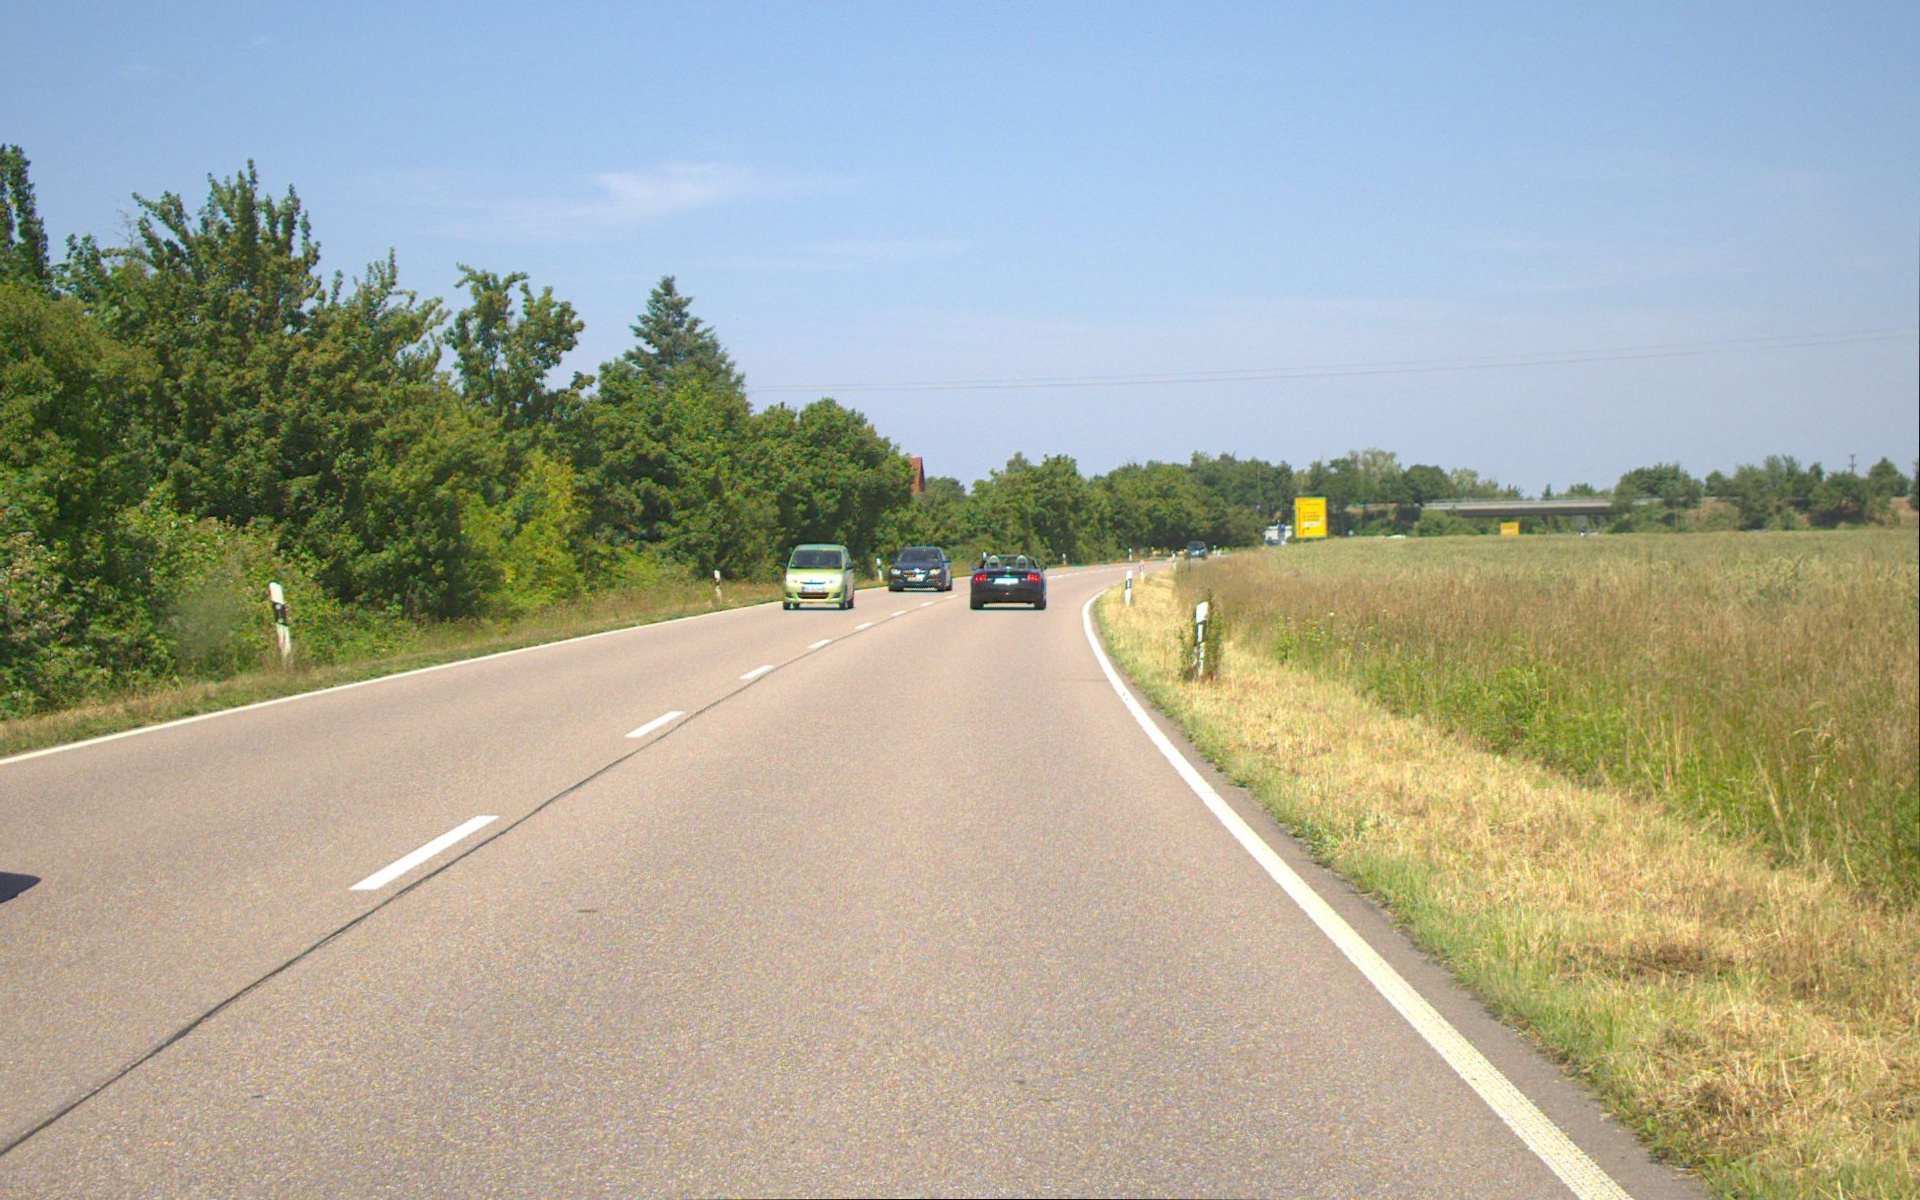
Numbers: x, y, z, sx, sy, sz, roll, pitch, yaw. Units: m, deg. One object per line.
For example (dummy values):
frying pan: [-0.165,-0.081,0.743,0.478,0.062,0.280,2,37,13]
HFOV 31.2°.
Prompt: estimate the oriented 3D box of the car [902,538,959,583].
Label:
car: [-0.963,-1.332,113.869,1.800,1.445,4.533,0,1,1]

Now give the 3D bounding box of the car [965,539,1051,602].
car: [1.161,-0.720,81.987,1.814,1.436,4.000,1,1,4]

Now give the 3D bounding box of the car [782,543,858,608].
car: [-3.298,-0.606,81.268,1.496,1.490,3.832,0,1,2]

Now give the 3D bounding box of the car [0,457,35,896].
car: [-4.817,0.349,12.315,1.762,1.813,4.804,0,1,-1]
